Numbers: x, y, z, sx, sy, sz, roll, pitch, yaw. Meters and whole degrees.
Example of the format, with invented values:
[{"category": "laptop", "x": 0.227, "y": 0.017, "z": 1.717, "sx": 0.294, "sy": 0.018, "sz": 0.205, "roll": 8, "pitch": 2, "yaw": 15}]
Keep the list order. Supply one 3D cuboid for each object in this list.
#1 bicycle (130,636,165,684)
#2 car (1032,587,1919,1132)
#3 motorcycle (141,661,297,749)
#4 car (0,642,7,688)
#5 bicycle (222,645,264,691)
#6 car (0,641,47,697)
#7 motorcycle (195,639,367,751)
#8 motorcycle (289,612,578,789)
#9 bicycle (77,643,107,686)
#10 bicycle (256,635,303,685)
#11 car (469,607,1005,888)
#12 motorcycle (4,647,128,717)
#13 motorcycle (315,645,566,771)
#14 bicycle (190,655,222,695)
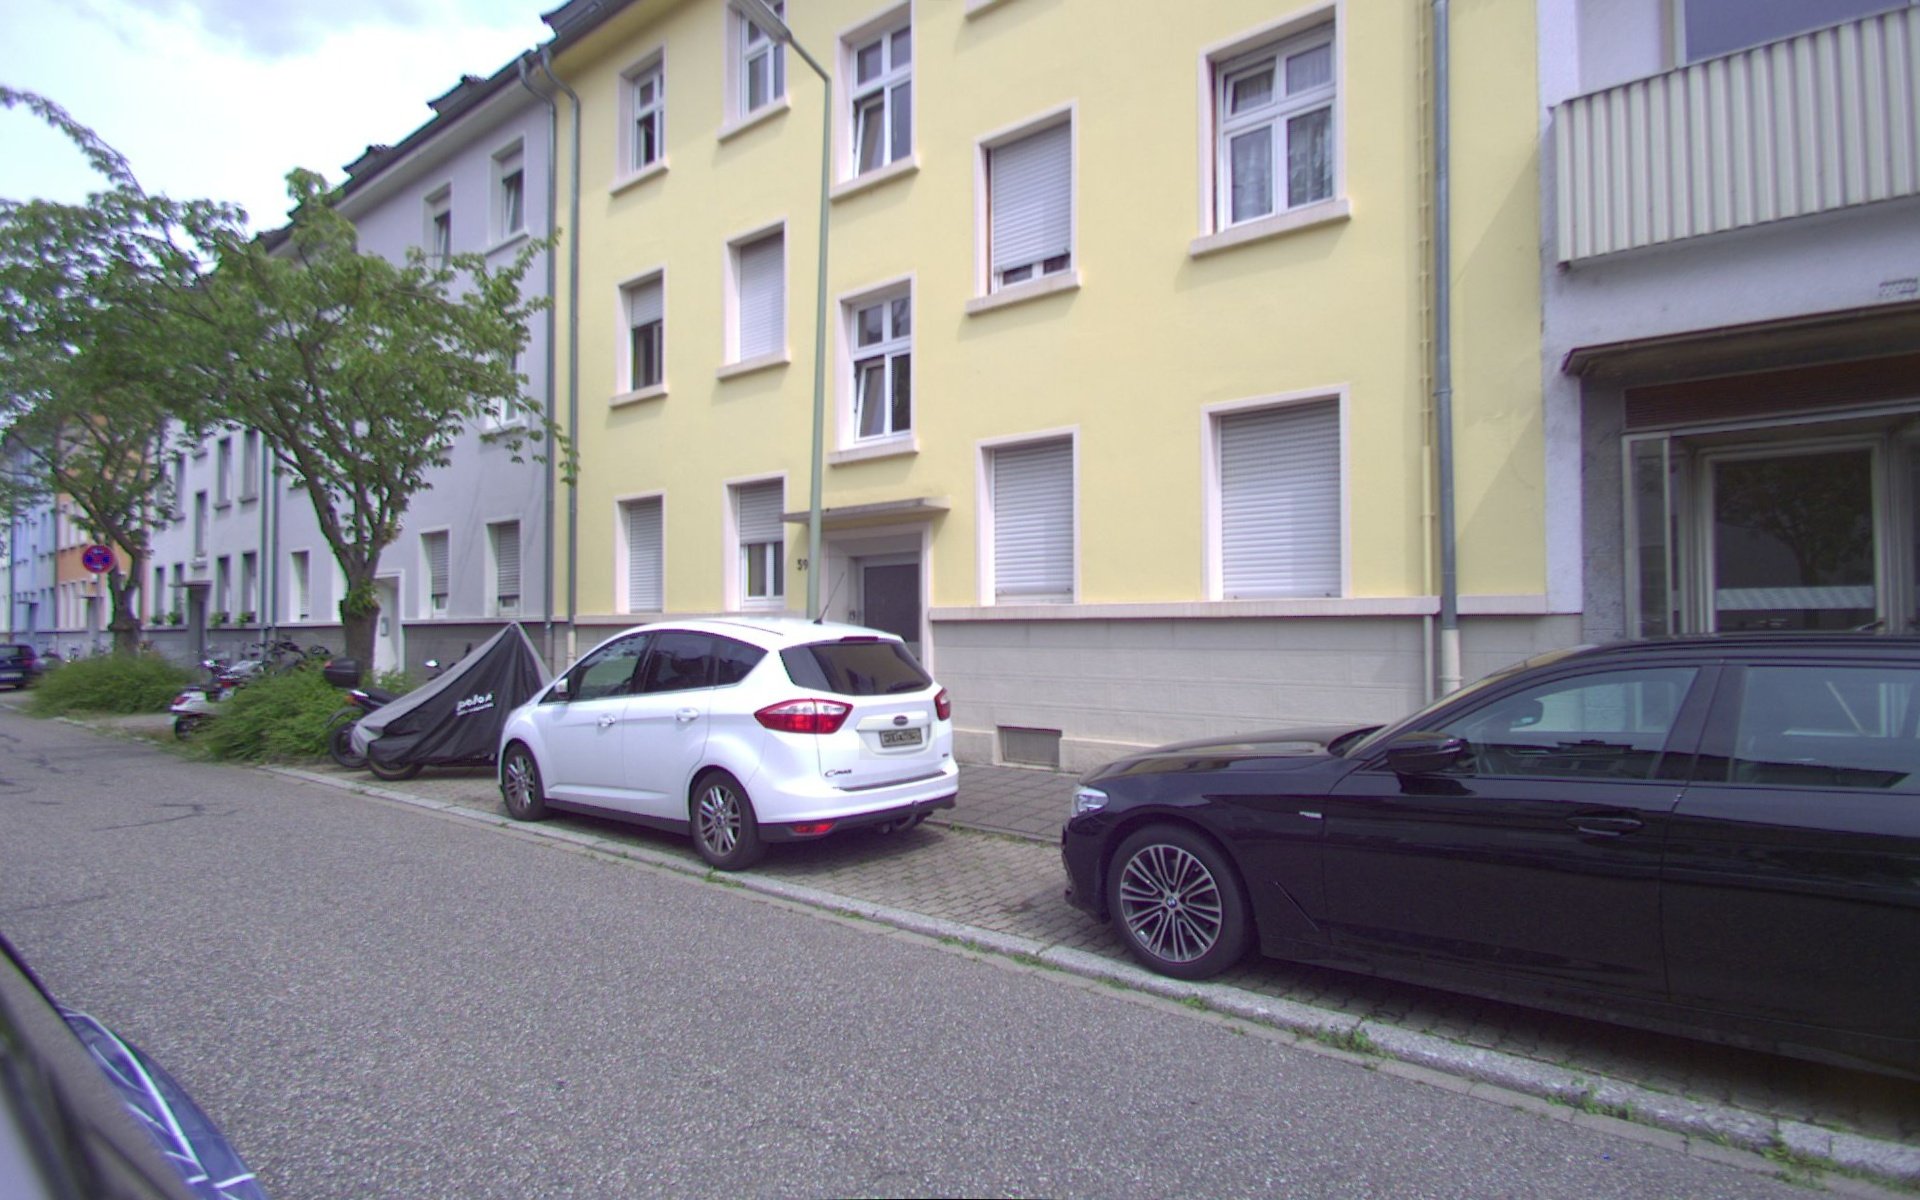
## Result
[{"category": "bicycle", "x": -23.386, "y": 1.716, "z": 29.119, "sx": 1.810, "sy": 1.344, "sz": 0.425, "roll": -2, "pitch": -4, "yaw": 41}, {"category": "car", "x": 2.741, "y": 0.732, "z": 3.881, "sx": 4.808, "sy": 1.503, "sz": 1.772, "roll": -1, "pitch": -1, "yaw": 40}, {"category": "motorcycle", "x": -10.917, "y": 1.508, "z": 15.001, "sx": 0.591, "sy": 1.201, "sz": 1.904, "roll": 0, "pitch": -3, "yaw": 12}, {"category": "car", "x": -33.431, "y": 2.163, "z": 33.713, "sx": 4.087, "sy": 1.495, "sz": 1.819, "roll": -1, "pitch": -1, "yaw": 37}, {"category": "bicycle", "x": -16.437, "y": 1.548, "z": 23.186, "sx": 1.433, "sy": 1.014, "sz": 0.416, "roll": -2, "pitch": -4, "yaw": 41}, {"category": "car", "x": -28.456, "y": 2.019, "z": 29.648, "sx": 4.114, "sy": 1.495, "sz": 1.819, "roll": -1, "pitch": 1, "yaw": 37}, {"category": "motorcycle", "x": -9.775, "y": 1.339, "z": 14.701, "sx": 0.591, "sy": 1.493, "sz": 2.229, "roll": 0, "pitch": -3, "yaw": 12}, {"category": "motorcycle", "x": -5.279, "y": 0.989, "z": 10.311, "sx": 2.437, "sy": 1.689, "sz": 0.939, "roll": 0, "pitch": -2, "yaw": -4}, {"category": "bicycle", "x": -28.368, "y": 2.098, "z": 33.056, "sx": 1.810, "sy": 1.344, "sz": 0.425, "roll": -2, "pitch": -4, "yaw": 41}, {"category": "bicycle", "x": -14.335, "y": 1.260, "z": 21.321, "sx": 1.433, "sy": 1.014, "sz": 0.416, "roll": -2, "pitch": -4, "yaw": 41}, {"category": "car", "x": -1.868, "y": 0.898, "z": 7.715, "sx": 4.251, "sy": 1.568, "sz": 1.740, "roll": -2, "pitch": -3, "yaw": 39}, {"category": "motorcycle", "x": -19.195, "y": 1.736, "z": 21.805, "sx": 0.782, "sy": 1.418, "sz": 2.017, "roll": 1, "pitch": -3, "yaw": 2}, {"category": "motorcycle", "x": -5.800, "y": 1.194, "z": 11.460, "sx": 2.414, "sy": 1.321, "sz": 0.645, "roll": 3, "pitch": -4, "yaw": -24}, {"category": "bicycle", "x": -18.757, "y": 1.855, "z": 25.168, "sx": 1.433, "sy": 0.974, "sz": 0.306, "roll": -2, "pitch": -4, "yaw": 41}]
